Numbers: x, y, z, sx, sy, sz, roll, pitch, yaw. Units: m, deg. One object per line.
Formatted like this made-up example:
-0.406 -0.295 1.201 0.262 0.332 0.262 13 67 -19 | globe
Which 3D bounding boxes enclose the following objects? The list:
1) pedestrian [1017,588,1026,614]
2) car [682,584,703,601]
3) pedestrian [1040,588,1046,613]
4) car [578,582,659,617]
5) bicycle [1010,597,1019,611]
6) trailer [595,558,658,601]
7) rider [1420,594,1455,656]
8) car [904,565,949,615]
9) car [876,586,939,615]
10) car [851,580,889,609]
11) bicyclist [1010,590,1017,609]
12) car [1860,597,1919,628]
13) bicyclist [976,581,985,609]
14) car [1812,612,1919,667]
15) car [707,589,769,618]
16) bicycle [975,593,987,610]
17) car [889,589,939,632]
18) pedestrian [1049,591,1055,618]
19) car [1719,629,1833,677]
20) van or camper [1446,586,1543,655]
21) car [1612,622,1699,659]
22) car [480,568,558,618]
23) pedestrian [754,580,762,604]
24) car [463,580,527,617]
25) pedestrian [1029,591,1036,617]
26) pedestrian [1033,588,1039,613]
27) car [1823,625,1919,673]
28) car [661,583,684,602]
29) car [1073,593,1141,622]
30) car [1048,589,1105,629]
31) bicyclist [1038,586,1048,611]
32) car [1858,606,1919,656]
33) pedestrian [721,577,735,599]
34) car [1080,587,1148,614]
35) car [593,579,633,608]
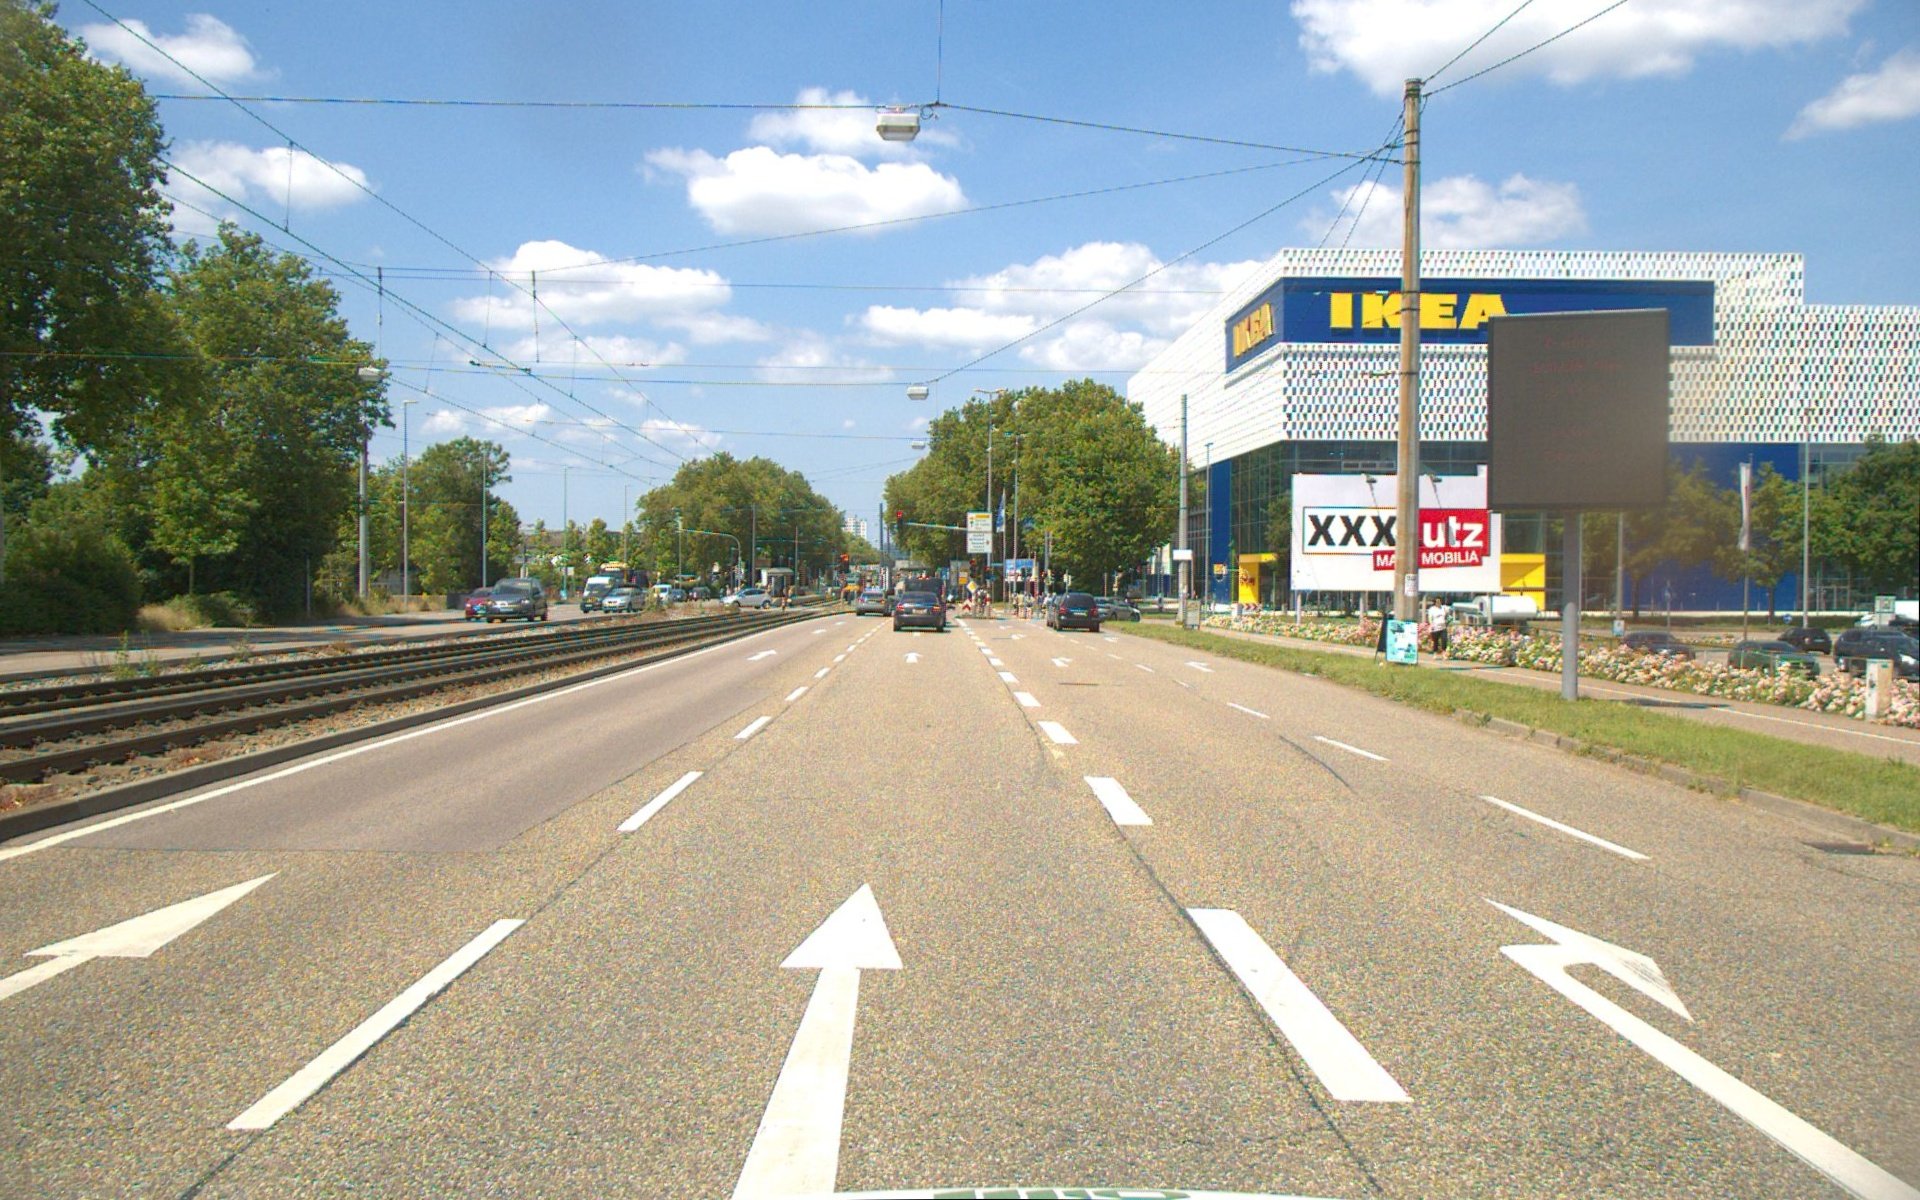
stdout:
3.921 0.062 105.820 0.542 1.663 0.433 1 0 1 | pedestrian
-30.310 -0.871 187.704 1.781 1.916 3.999 1 0 -2 | car
5.422 0.027 107.976 0.332 1.663 0.377 1 0 1 | pedestrian
-22.141 -0.016 107.388 1.965 1.862 4.941 6 1 41 | car
3.526 0.229 107.754 0.538 0.892 1.698 1 0 1 | bicycle
-29.400 -1.761 146.708 2.711 3.579 15.873 1 0 -2 | trailer
11.636 0.611 40.316 0.655 1.483 0.618 1 0 -2 | rider
-1.423 -0.451 70.119 1.799 1.984 4.000 1 2 -2 | car
-3.946 0.013 124.111 4.334 1.951 1.987 2 0 -22 | car
-5.049 -0.318 93.318 1.953 1.512 3.999 2 1 -1 | car
3.484 -0.045 107.830 0.461 1.214 0.791 1 0 1 | bicyclist
72.890 0.989 128.621 4.658 2.349 2.001 1 0 7 | car
1.339 -0.325 106.000 0.518 1.820 1.088 1 0 -1 | bicyclist
36.830 1.572 66.980 1.953 2.049 4.999 -1 0 -1 | car
-15.941 0.263 118.743 3.940 1.881 1.983 3 0 -27 | car
1.369 0.096 106.360 0.674 1.011 2.751 1 0 -1 | bicycle
-1.677 0.360 60.314 1.756 1.480 3.999 0 1 -1 | car
5.892 0.285 105.893 0.314 1.663 0.377 1 0 1 | pedestrian
29.943 1.915 60.826 1.953 1.523 4.302 -2 0 -1 | car
25.232 0.909 78.388 2.455 3.073 7.226 2 0 2 | van or camper
32.039 1.838 76.320 1.953 1.564 4.768 0 0 -1 | car
-17.416 -0.303 65.540 1.954 1.862 4.967 -2 1 -3 | car
-17.456 -0.656 143.005 0.672 2.049 0.572 1 0 -6 | pedestrian
-22.380 -0.081 79.756 1.954 1.699 4.466 -1 1 -3 | car
4.655 0.240 106.006 0.436 1.663 0.430 1 0 1 | pedestrian
4.957 0.033 108.119 0.373 1.663 0.377 1 0 1 | pedestrian
34.426 1.802 61.481 1.953 1.577 4.999 2 0 -1 | car
-30.312 -0.824 174.523 1.781 1.916 3.999 1 0 -2 | car
8.363 0.449 93.713 1.961 1.512 4.129 3 1 36 | car
4.799 0.339 68.529 1.953 1.512 3.999 2 1 -1 | car
5.912 -0.103 117.865 0.517 1.795 0.828 1 0 12 | bicyclist
44.193 1.431 77.015 1.953 2.172 4.999 2 0 -1 | car
-18.531 -0.944 132.164 0.806 1.750 0.775 1 0 21 | pedestrian
9.743 0.049 104.255 1.966 1.512 4.360 3 1 43 | car
-20.639 -0.391 98.587 1.652 1.611 4.056 -2 1 -3 | car
